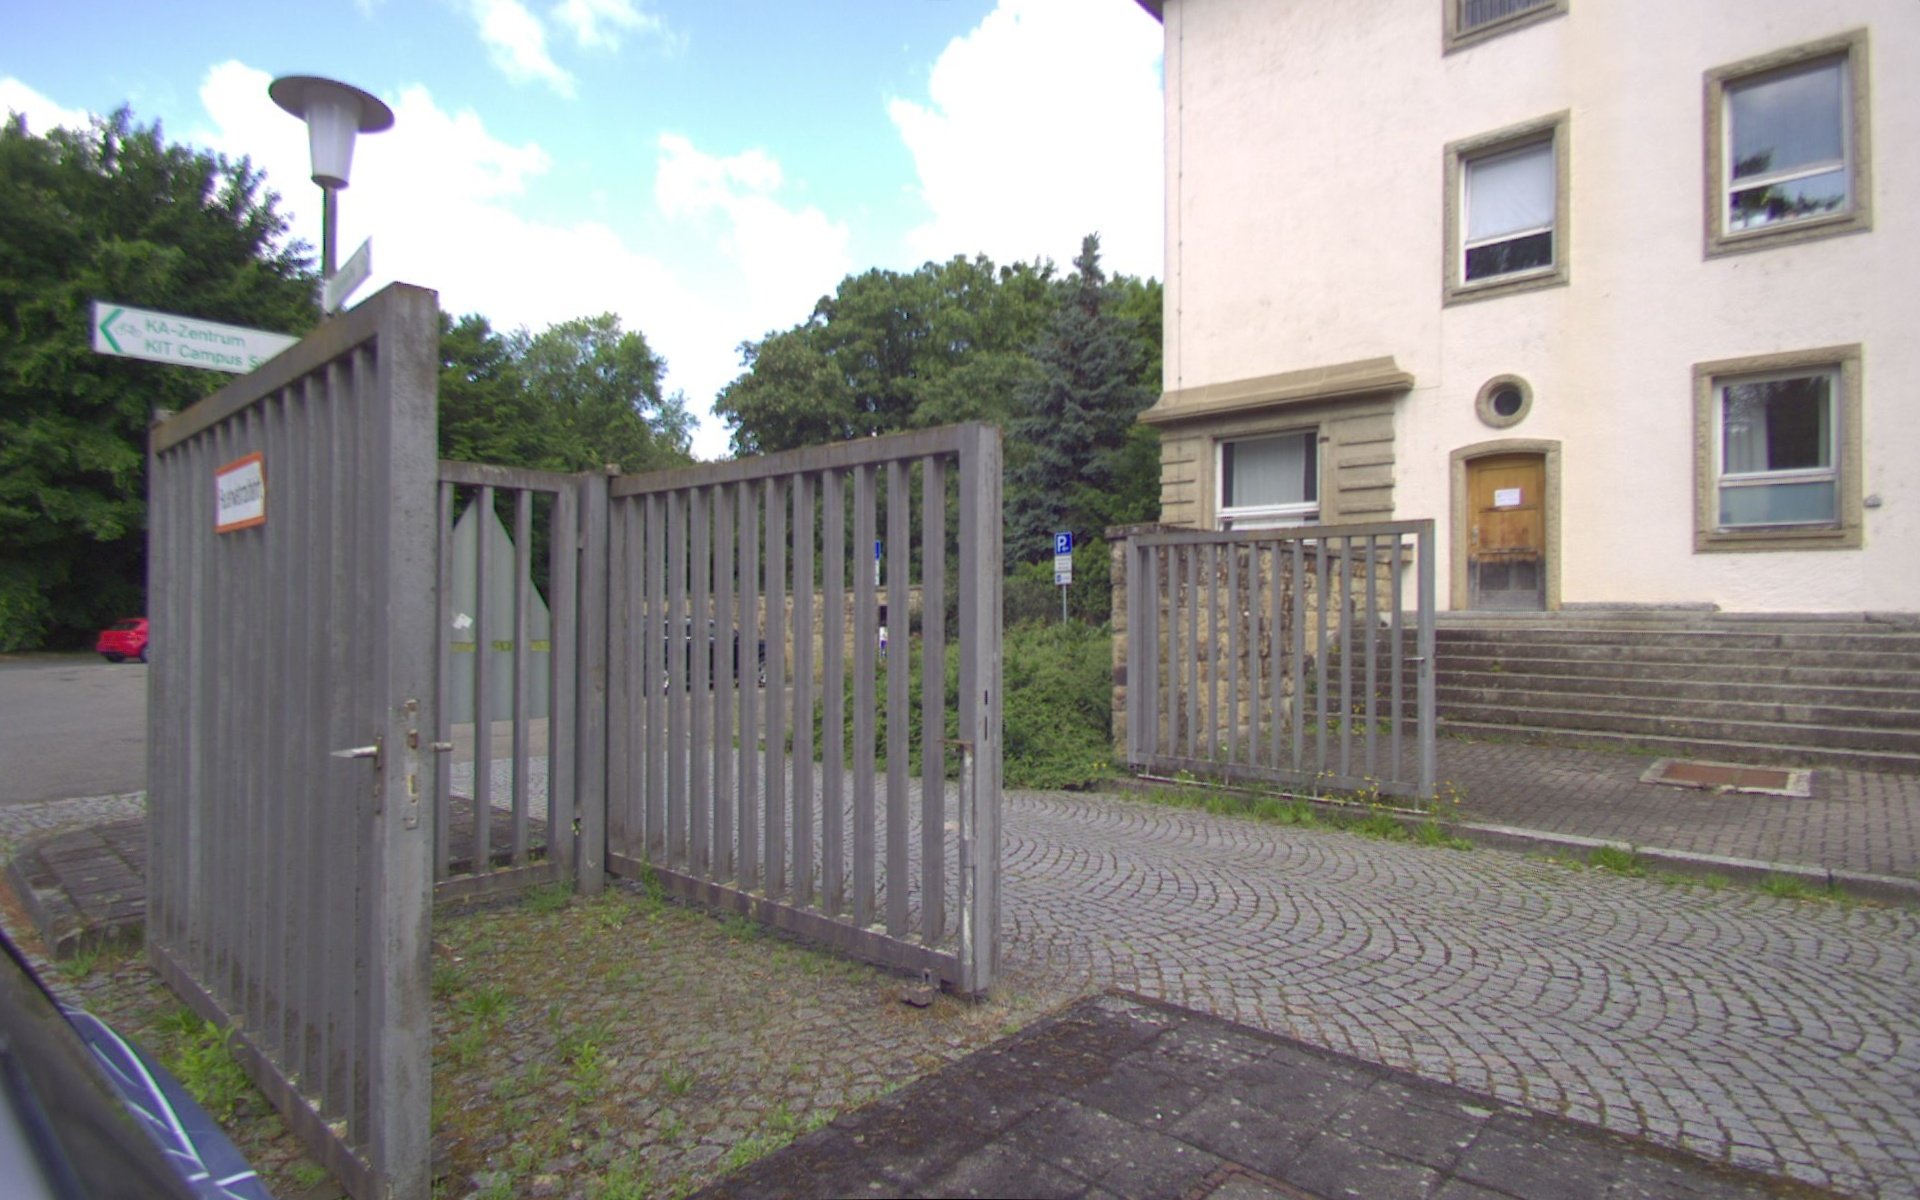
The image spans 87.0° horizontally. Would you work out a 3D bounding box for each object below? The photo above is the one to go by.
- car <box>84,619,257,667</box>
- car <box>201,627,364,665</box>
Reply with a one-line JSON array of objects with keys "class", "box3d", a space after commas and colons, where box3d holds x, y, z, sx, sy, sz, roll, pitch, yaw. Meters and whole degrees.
[{"class": "car", "box3d": [-26.060, 1.387, 33.601, 1.982, 1.475, 4.182, 0, -1, 16]}, {"class": "car", "box3d": [-27.091, 1.784, 40.742, 1.983, 1.389, 5.381, 0, -1, 18]}]
